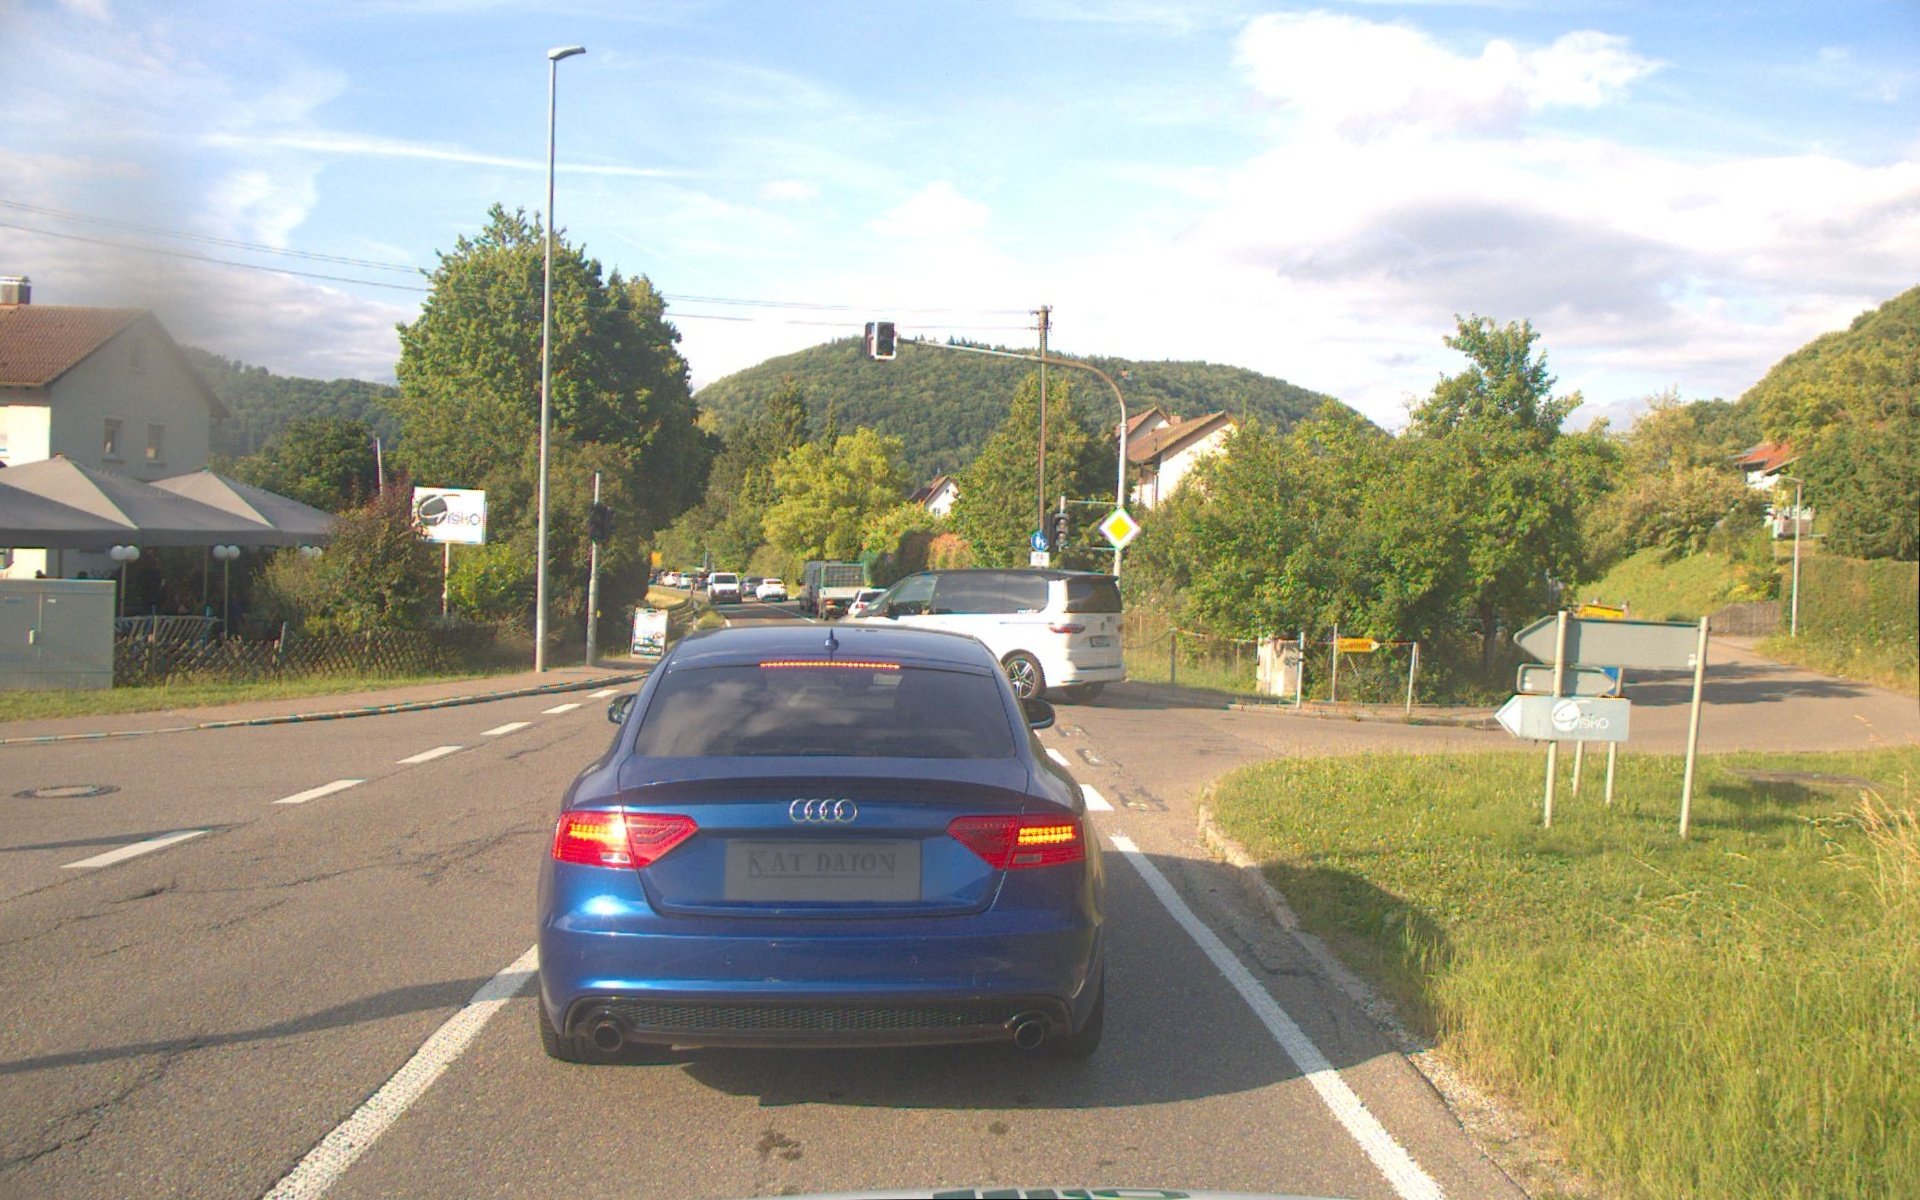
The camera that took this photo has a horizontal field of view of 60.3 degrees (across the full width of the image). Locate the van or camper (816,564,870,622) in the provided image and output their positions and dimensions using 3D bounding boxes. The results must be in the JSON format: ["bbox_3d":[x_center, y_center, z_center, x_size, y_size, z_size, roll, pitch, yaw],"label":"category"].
[{"bbox_3d":[-5.207,-0.333,72.864,2.138,2.426,5.362,0,1,-7],"label":"van or camper"}]

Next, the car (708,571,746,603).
[{"bbox_3d":[-14.732,-0.845,104.585,1.959,1.937,5.236,-1,1,-13],"label":"car"}]

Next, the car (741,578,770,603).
[{"bbox_3d":[-15.114,-0.722,122.252,1.765,1.825,3.988,0,1,-12],"label":"car"}]

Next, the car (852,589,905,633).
[{"bbox_3d":[-2.824,0.357,57.840,1.736,1.439,4.172,2,0,-2],"label":"car"}]

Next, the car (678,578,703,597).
[{"bbox_3d":[-25.422,-1.187,156.099,1.910,1.713,3.983,0,0,-16],"label":"car"}]

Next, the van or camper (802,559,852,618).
[{"bbox_3d":[-6.991,-0.622,86.592,2.369,2.955,6.123,0,1,-7],"label":"van or camper"}]

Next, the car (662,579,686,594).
[{"bbox_3d":[-28.494,-1.397,164.824,1.910,1.449,3.983,0,1,-16],"label":"car"}]

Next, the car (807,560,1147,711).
[{"bbox_3d":[0.209,0.464,24.984,4.770,1.909,1.994,3,1,33],"label":"car"}]

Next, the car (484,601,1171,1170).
[{"bbox_3d":[-0.427,0.744,6.460,1.793,1.433,4.224,0,0,-2],"label":"car"}]

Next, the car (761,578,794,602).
[{"bbox_3d":[-12.236,-0.707,110.757,1.788,1.579,3.988,0,1,-12],"label":"car"}]

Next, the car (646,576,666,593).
[{"bbox_3d":[-32.571,-1.691,177.200,1.743,1.814,3.983,0,1,-16],"label":"car"}]

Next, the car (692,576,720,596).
[{"bbox_3d":[-22.660,-1.271,147.628,2.007,1.713,3.983,0,1,-16],"label":"car"}]
